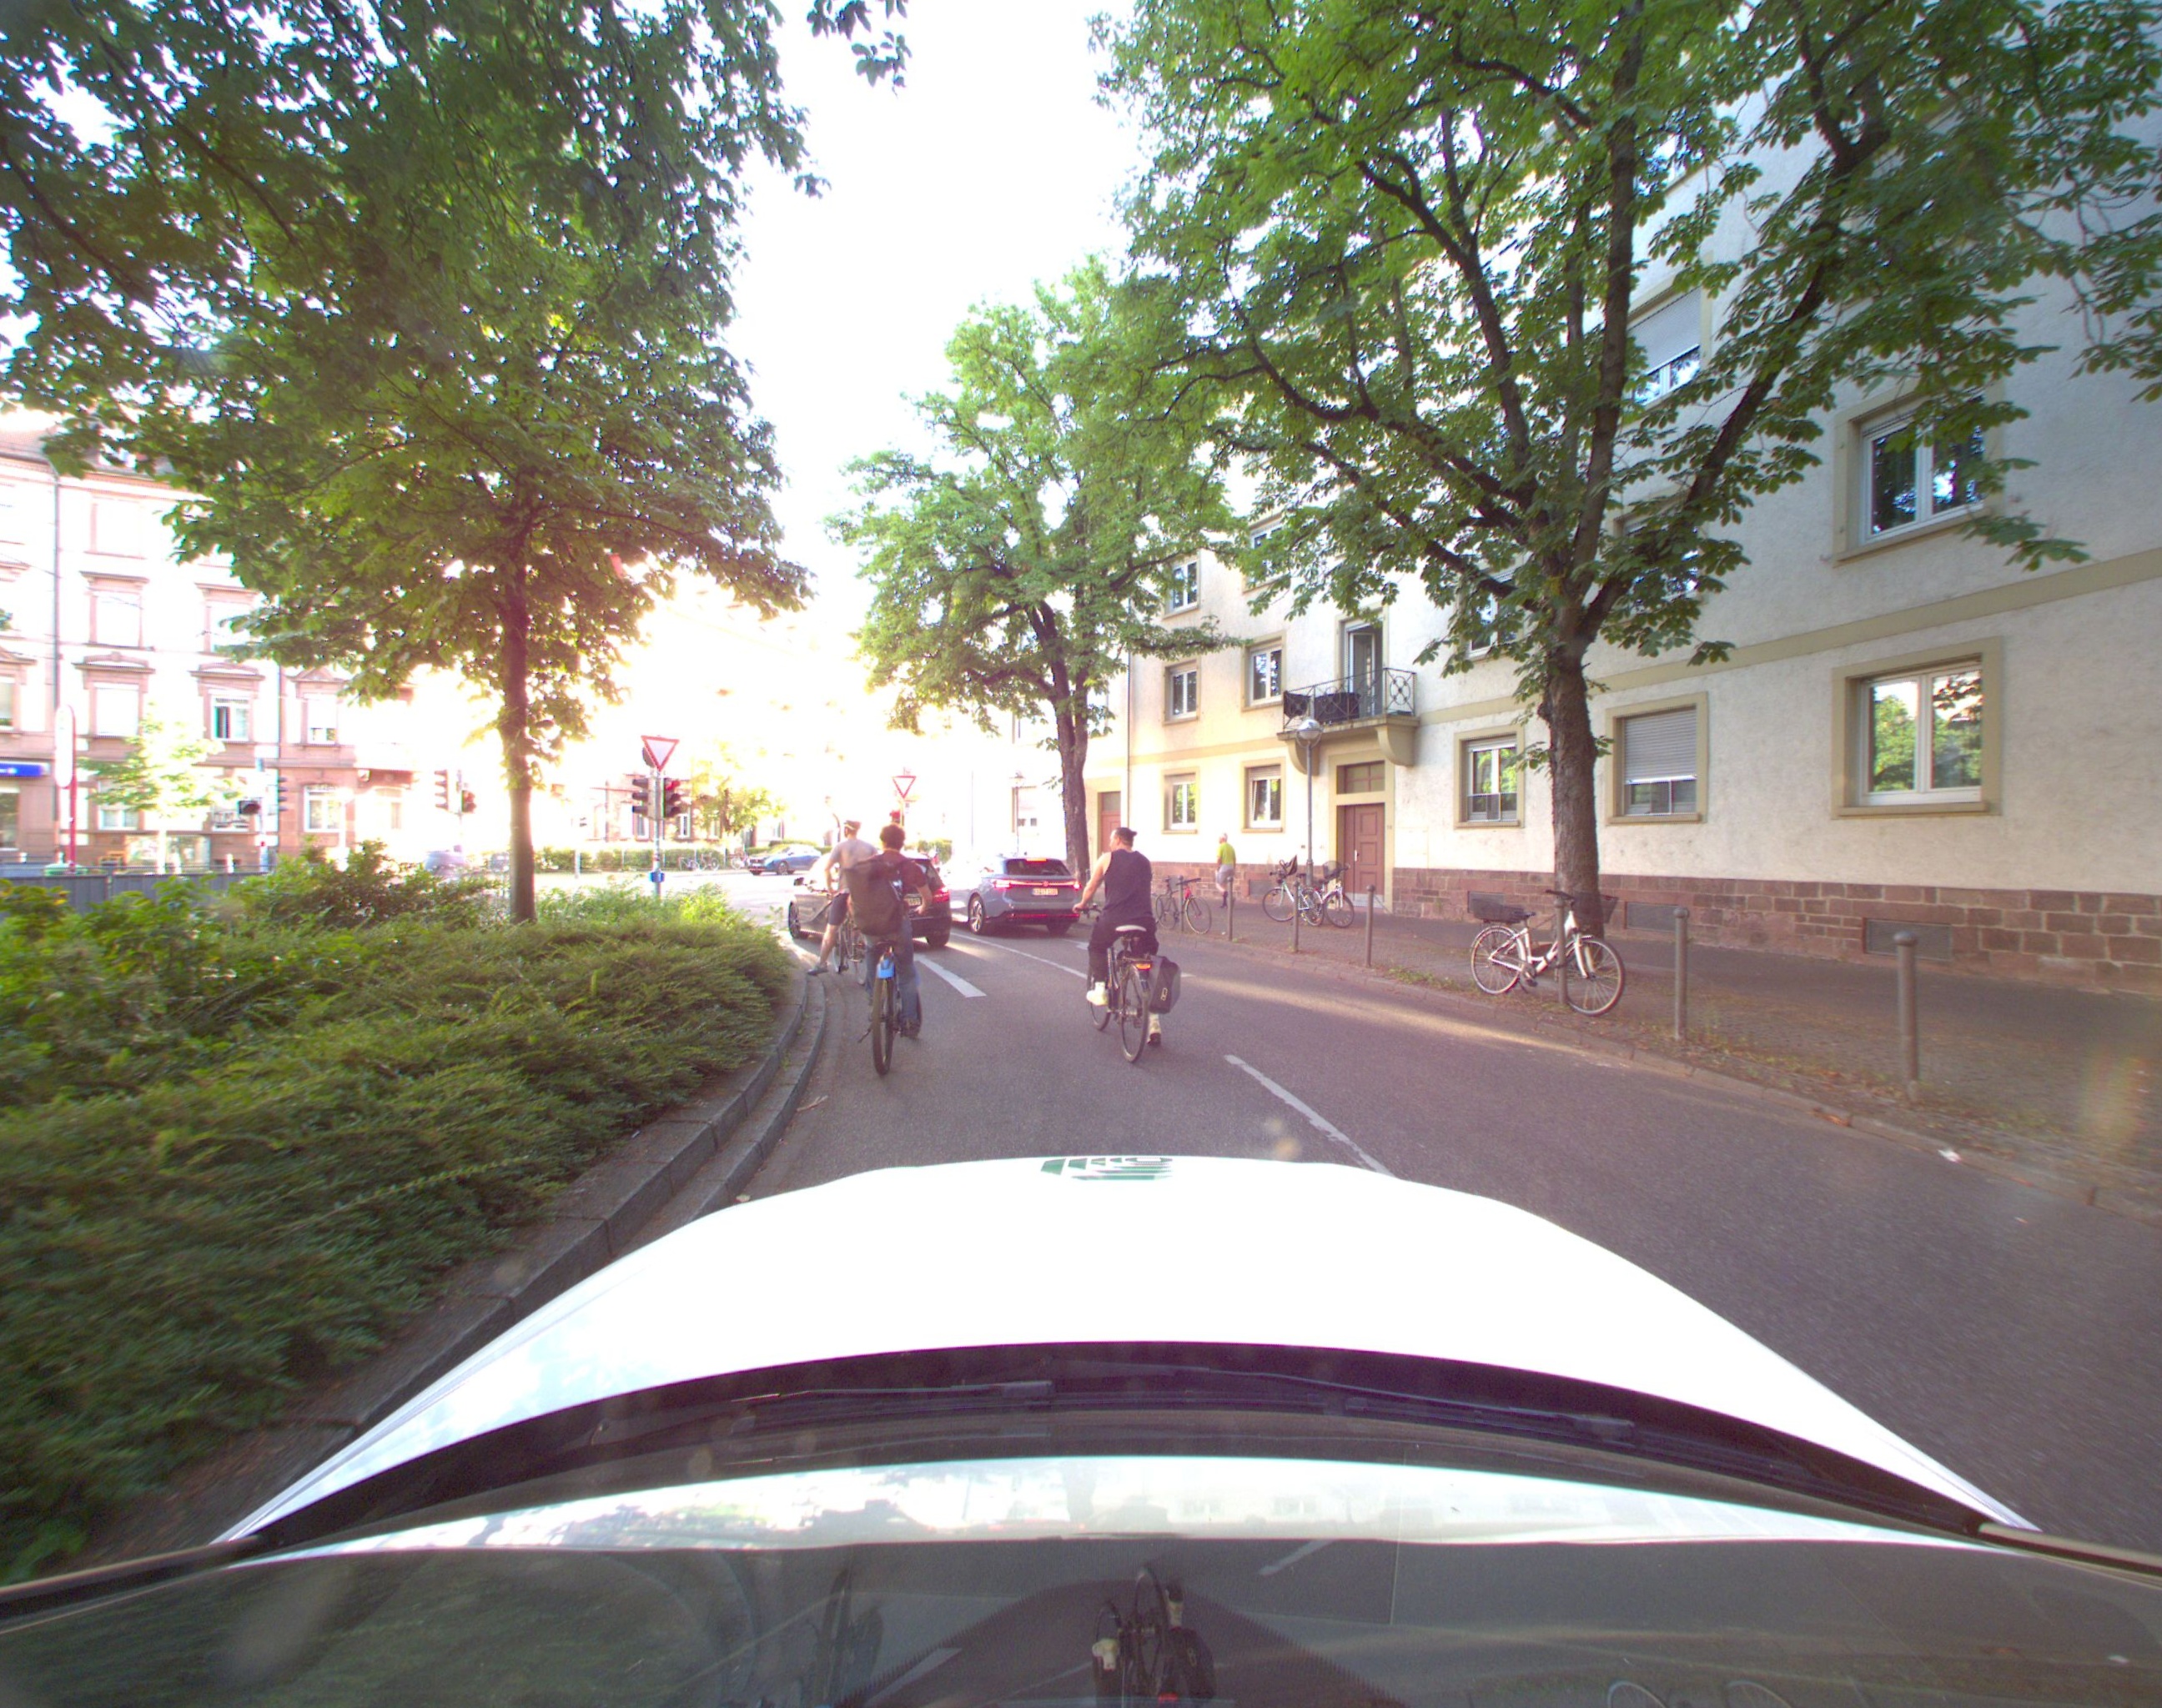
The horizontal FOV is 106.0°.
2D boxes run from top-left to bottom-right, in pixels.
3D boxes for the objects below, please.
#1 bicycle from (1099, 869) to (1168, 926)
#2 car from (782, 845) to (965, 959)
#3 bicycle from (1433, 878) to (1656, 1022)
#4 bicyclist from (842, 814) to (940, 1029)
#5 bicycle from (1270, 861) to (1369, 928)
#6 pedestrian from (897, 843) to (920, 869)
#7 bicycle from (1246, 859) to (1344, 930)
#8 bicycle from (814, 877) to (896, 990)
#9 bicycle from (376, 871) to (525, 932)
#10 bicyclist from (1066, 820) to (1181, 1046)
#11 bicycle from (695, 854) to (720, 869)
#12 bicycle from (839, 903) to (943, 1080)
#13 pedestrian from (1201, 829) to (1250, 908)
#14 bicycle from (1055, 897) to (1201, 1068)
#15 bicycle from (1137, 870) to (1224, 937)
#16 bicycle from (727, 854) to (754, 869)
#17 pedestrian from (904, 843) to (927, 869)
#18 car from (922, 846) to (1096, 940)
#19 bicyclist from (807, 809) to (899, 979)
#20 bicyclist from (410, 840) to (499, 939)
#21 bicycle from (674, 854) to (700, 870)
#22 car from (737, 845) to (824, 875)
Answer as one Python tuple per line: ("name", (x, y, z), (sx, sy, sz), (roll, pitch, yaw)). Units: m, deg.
("bicycle", (1.003, 0.817, 16.125), (0.522, 0.999, 2.176), (0, 0, -20))
("car", (-3.598, 0.677, 13.587), (1.825, 1.543, 3.919), (-2, 1, -32))
("bicycle", (4.395, 0.842, 7.921), (0.617, 1.112, 1.981), (-3, 1, -17))
("bicyclist", (-1.461, 0.473, 6.343), (0.672, 1.514, 1.064), (0, 0, -12))
("bicycle", (4.428, 0.719, 15.313), (0.584, 1.114, 2.101), (-1, 1, -24))
("pedestrian", (-13.308, 0.123, 62.803), (1.149, 1.962, 1.393), (0, 0, 16))
("bicycle", (3.895, 0.696, 15.024), (0.496, 1.172, 2.100), (-4, 2, -24))
("bicycle", (-2.790, 0.893, 9.908), (0.600, 1.161, 2.024), (0, 0, -26))
("bicycle", (-11.258, 0.816, 14.639), (0.761, 0.958, 1.993), (1, 0, 22))
("bicyclist", (0.315, 0.582, 6.565), (0.752, 1.682, 0.910), (0, 0, -9))
("bicycle", (-21.034, 0.418, 45.866), (0.444, 0.861, 1.232), (1, 0, 36))
("bicycle", (-1.481, 0.971, 6.451), (0.674, 1.054, 2.052), (0, -1, -12))
("pedestrian", (3.417, 0.321, 19.198), (1.003, 1.795, 0.651), (-2, 1, -45))
("bicycle", (0.301, 0.937, 6.666), (0.738, 1.012, 2.054), (-1, 1, -10))
("bicycle", (1.754, 0.853, 14.727), (0.619, 1.058, 1.912), (-2, 1, -26))
("bicycle", (-20.155, 0.459, 48.174), (0.444, 0.861, 1.456), (1, 0, 36))
("pedestrian", (-12.564, 0.159, 61.787), (1.149, 1.962, 1.393), (0, 0, 16))
("car", (-1.529, 0.637, 15.862), (1.903, 1.577, 3.962), (0, 0, -30))
("bicyclist", (-2.755, 0.438, 9.781), (0.855, 1.898, 1.129), (0, 0, -28))
("bicyclist", (-11.248, 0.605, 14.640), (0.688, 1.716, 1.053), (0, 0, 22))
("bicycle", (-21.676, 0.454, 44.833), (0.444, 0.861, 1.232), (1, 0, 36))
("car", (-16.084, 0.305, 43.851), (1.976, 1.496, 4.397), (1, 0, 21))
